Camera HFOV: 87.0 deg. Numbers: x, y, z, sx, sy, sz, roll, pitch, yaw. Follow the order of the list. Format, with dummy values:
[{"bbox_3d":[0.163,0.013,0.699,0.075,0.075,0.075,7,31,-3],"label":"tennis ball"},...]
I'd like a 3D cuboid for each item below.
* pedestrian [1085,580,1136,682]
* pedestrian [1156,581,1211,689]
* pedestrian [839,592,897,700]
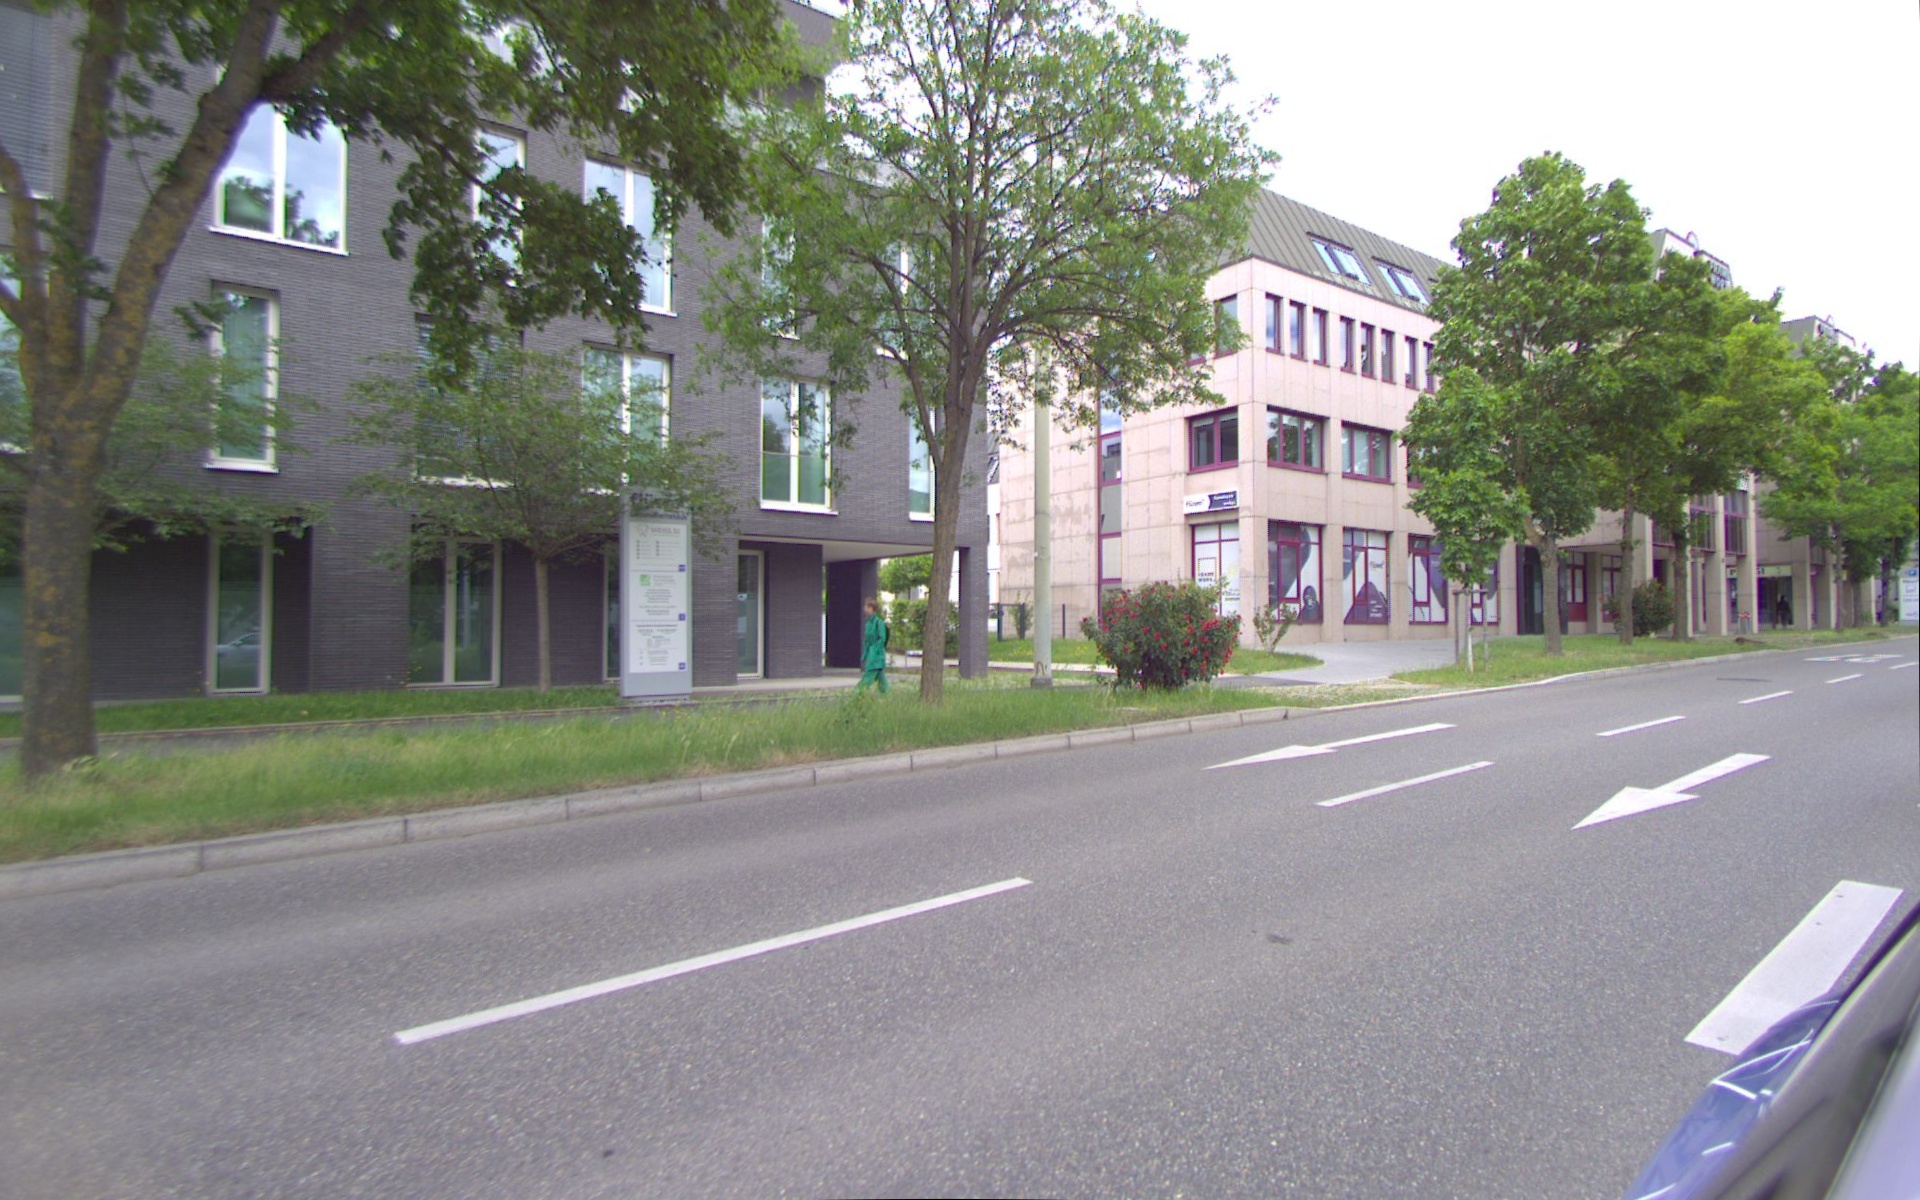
[{"bbox_3d":[2.752,0.554,18.508,0.665,1.828,0.642,0,-1,-40],"label":"pedestrian"},{"bbox_3d":[3.862,0.592,17.497,0.665,1.828,0.642,0,-1,-40],"label":"pedestrian"},{"bbox_3d":[-1.360,0.657,14.973,0.665,1.537,0.496,0,2,-40],"label":"pedestrian"}]
